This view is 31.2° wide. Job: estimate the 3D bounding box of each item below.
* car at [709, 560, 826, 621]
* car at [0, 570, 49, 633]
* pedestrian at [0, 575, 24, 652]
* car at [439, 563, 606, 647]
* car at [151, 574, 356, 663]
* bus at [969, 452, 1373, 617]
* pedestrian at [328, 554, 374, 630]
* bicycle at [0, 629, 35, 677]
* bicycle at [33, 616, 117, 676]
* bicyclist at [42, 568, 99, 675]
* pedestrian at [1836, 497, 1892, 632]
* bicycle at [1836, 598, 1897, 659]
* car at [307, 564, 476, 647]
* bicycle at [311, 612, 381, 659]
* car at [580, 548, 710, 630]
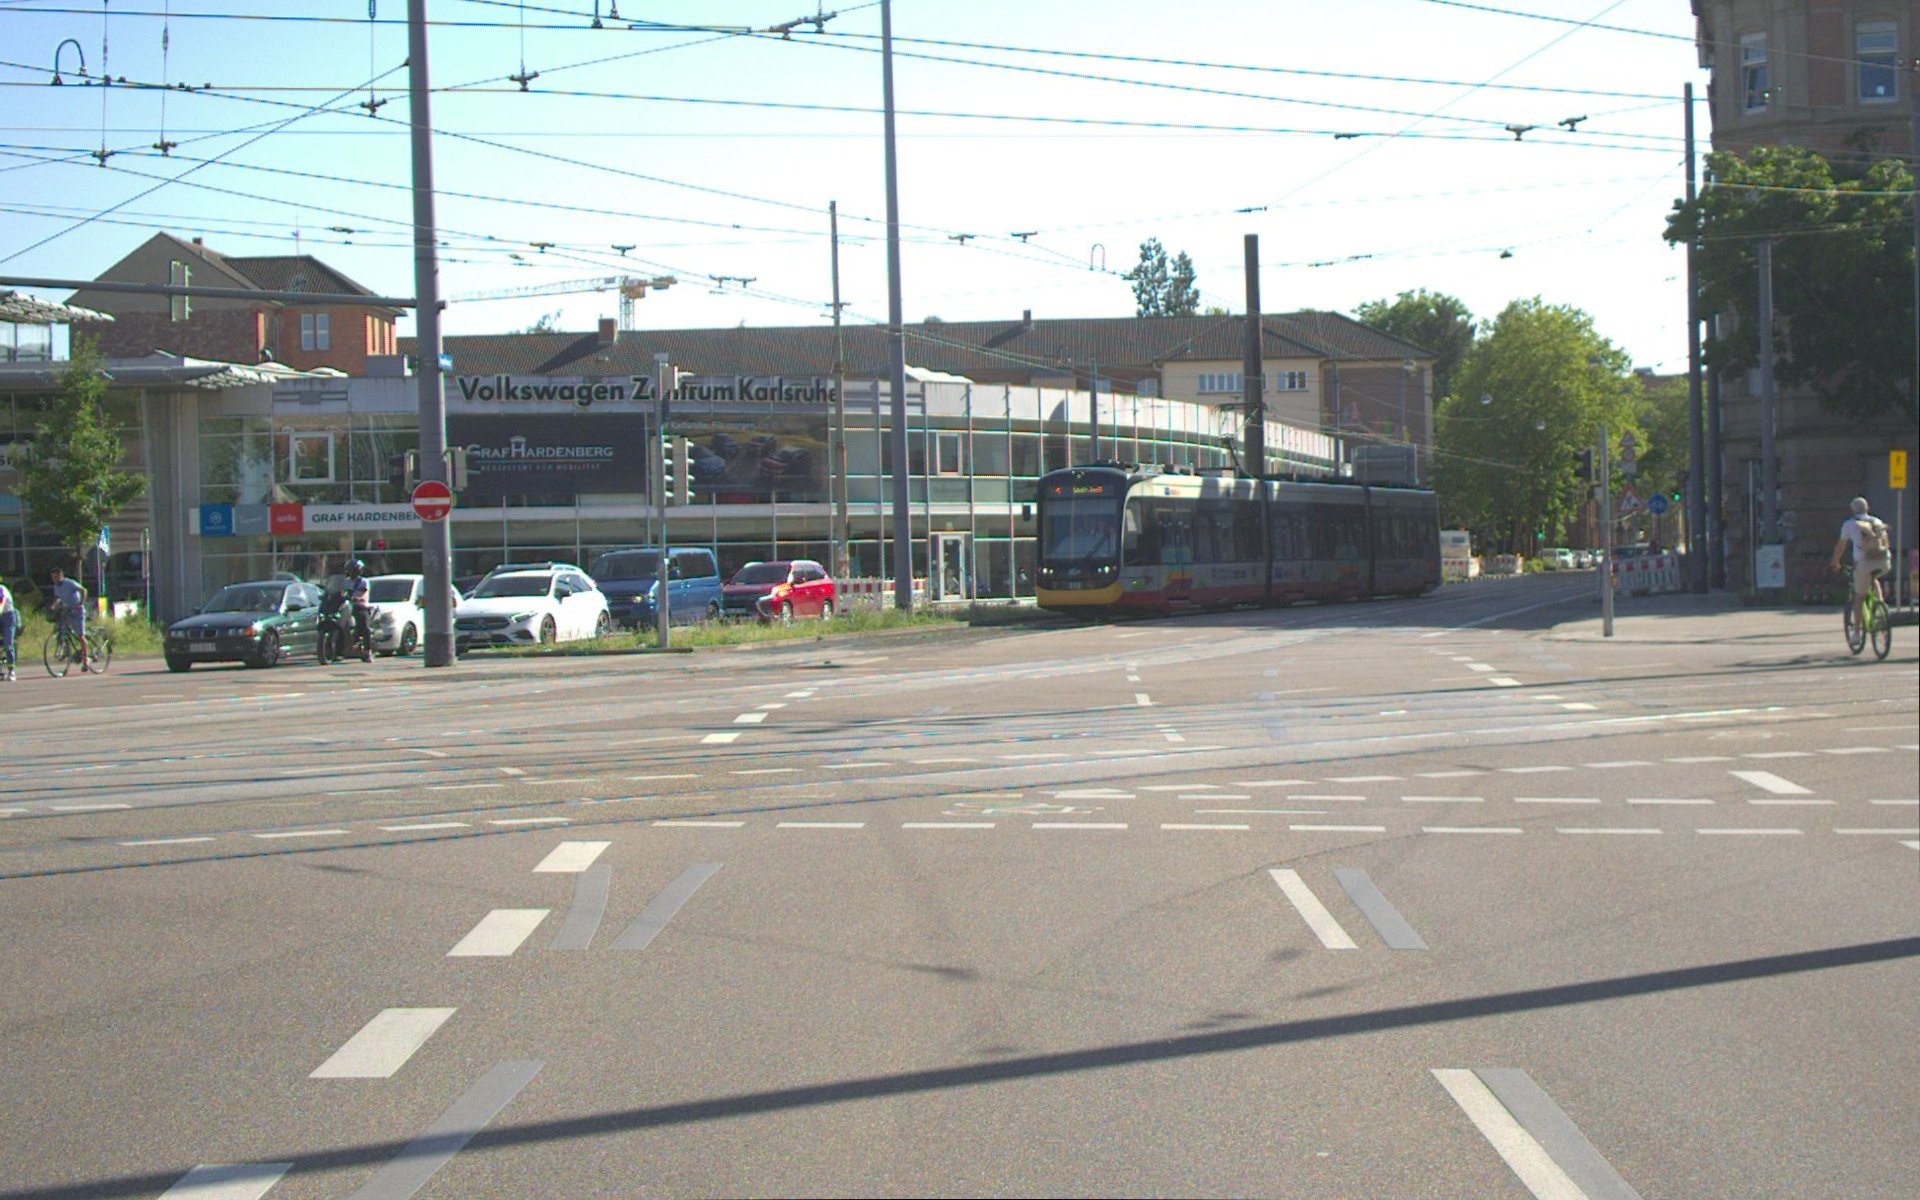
[{"bbox_3d":[-4.525,-0.235,81.242,1.627,1.359,3.683,-1,1,16],"label":"car"},{"bbox_3d":[-26.689,0.040,94.984,1.966,1.700,4.083,-1,1,-1],"label":"car"},{"bbox_3d":[-15.102,0.218,53.961,0.423,1.200,0.679,-1,1,30],"label":"pedestrian"},{"bbox_3d":[-7.605,0.068,60.091,1.627,1.377,3.735,-1,1,14],"label":"car"},{"bbox_3d":[-11.464,0.283,56.011,1.705,1.349,3.698,-1,1,17],"label":"car"},{"bbox_3d":[6.022,-1.447,87.365,3.840,3.595,24.842,1,0,19],"label":"bus"},{"bbox_3d":[-9.857,-0.131,55.624,0.423,1.200,0.749,-1,1,17],"label":"pedestrian"},{"bbox_3d":[-15.172,0.840,53.820,0.423,0.715,1.473,-1,1,29],"label":"bicycle"},{"bbox_3d":[-14.270,0.739,55.463,0.468,0.923,1.473,-1,1,25],"label":"bicycle"},{"bbox_3d":[-14.327,0.349,55.372,0.569,1.708,0.648,-1,1,25],"label":"bicyclist"},{"bbox_3d":[10.594,-0.414,40.288,0.549,1.557,0.857,-1,0,20],"label":"pedestrian"},{"bbox_3d":[10.628,0.332,40.292,0.537,0.653,1.724,-1,1,20],"label":"bicycle"},{"bbox_3d":[-10.207,0.080,61.968,1.627,1.419,3.683,-1,1,14],"label":"car"},{"bbox_3d":[-9.898,0.564,55.451,0.423,0.715,1.633,-1,1,16],"label":"bicycle"},{"bbox_3d":[-6.758,-0.253,74.110,1.627,1.686,3.683,-1,1,14],"label":"car"}]
